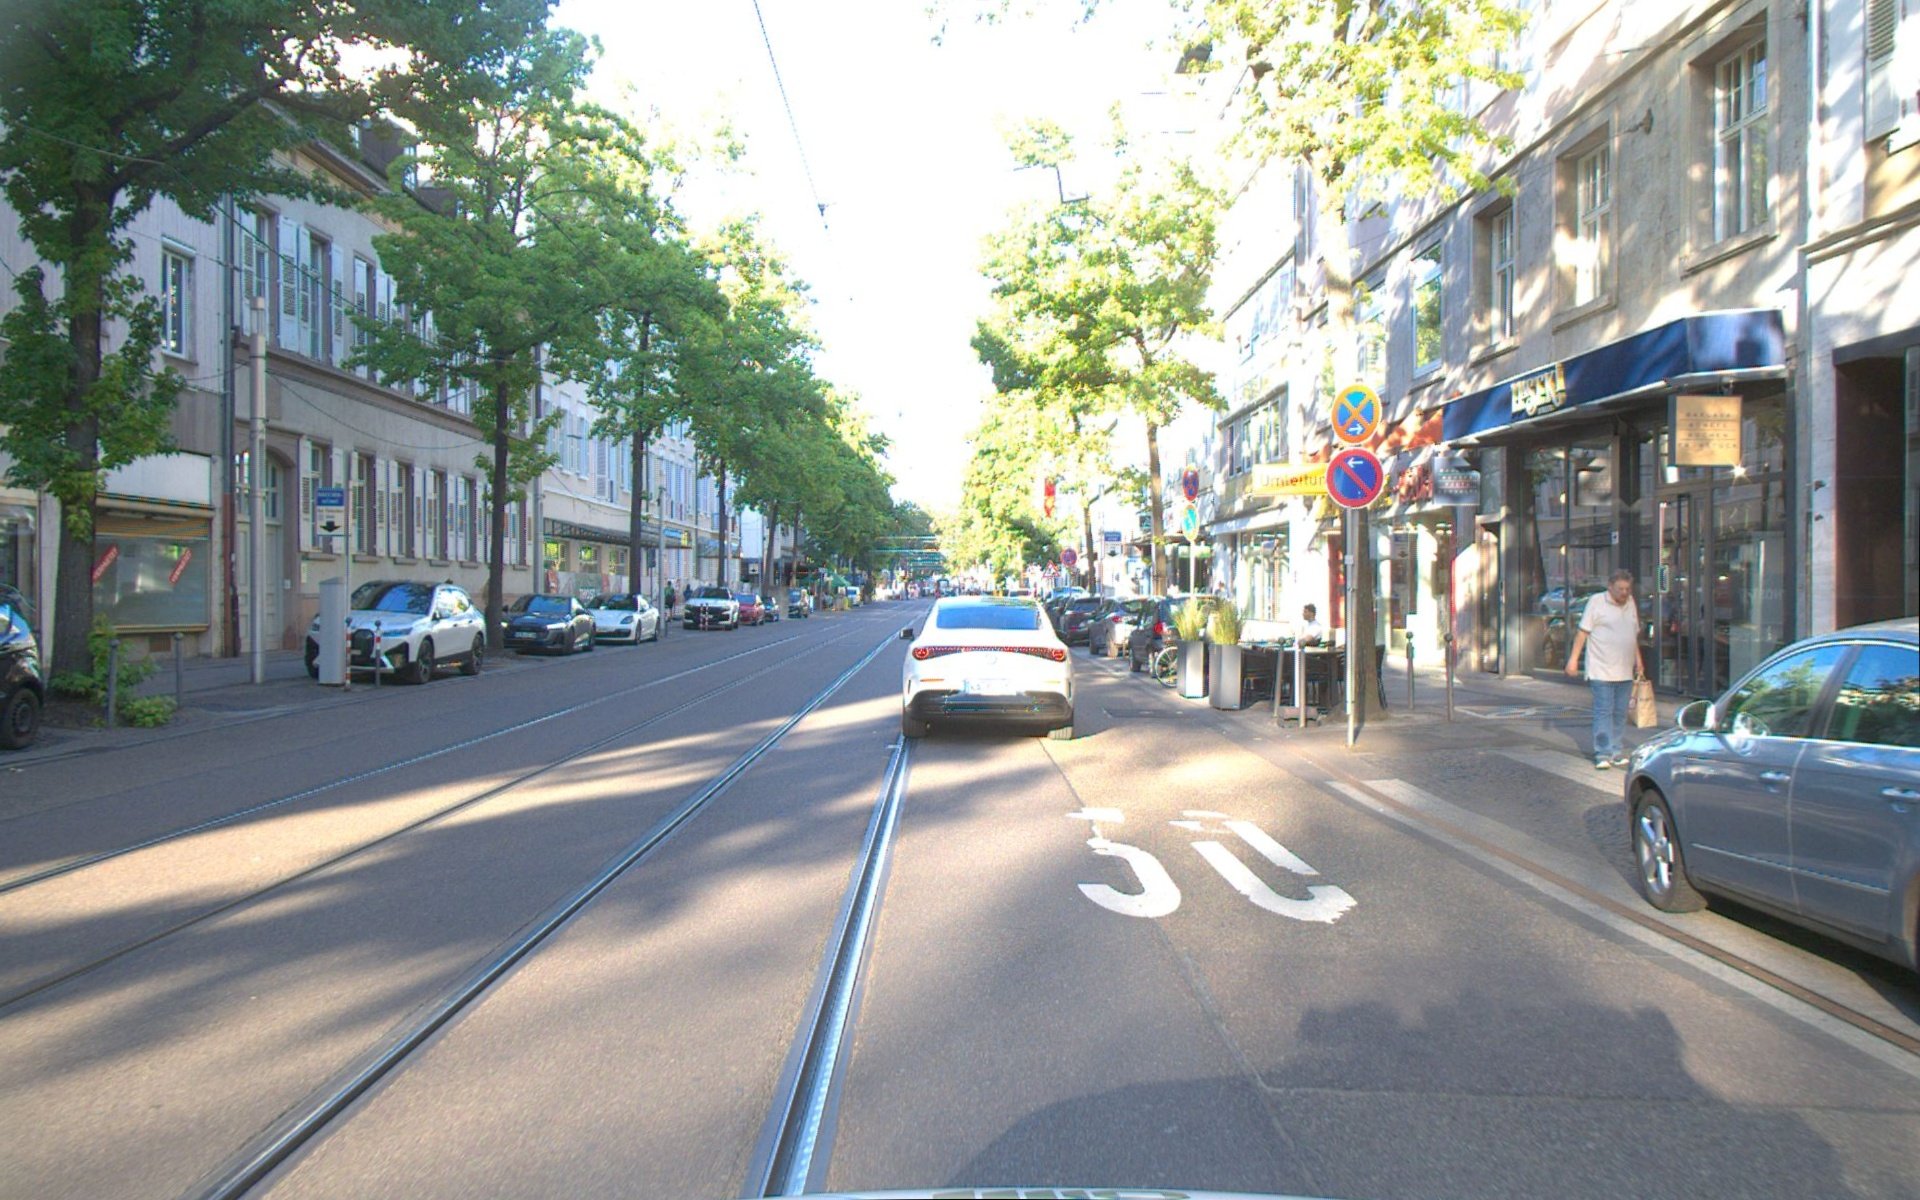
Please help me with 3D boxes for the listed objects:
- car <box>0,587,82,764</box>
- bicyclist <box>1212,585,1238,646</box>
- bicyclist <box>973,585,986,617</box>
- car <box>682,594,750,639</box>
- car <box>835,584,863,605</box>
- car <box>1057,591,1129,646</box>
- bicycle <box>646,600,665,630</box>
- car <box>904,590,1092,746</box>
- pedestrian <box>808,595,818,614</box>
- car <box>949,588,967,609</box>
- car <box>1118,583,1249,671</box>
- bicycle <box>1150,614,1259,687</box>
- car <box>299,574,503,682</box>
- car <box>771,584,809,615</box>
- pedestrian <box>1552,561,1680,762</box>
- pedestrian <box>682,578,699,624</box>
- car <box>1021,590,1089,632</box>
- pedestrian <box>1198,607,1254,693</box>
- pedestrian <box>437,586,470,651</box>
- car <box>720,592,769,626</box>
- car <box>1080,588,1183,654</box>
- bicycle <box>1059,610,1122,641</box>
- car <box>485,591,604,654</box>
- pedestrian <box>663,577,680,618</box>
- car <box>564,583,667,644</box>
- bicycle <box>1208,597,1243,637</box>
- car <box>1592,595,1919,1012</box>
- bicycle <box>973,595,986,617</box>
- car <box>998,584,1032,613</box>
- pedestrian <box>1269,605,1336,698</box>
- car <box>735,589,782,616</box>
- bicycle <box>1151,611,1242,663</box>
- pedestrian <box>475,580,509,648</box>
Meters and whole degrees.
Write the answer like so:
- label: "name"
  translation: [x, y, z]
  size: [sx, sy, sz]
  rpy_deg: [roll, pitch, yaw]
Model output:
- label: "car"
  translation: [-10.169, 0.687, 15.211]
  size: [1.922, 1.668, 4.000]
  rpy_deg: [3, 0, 1]
- label: "bicyclist"
  translation: [7.511, 0.430, 46.885]
  size: [0.626, 1.713, 0.599]
  rpy_deg: [0, 0, -2]
- label: "bicyclist"
  translation: [1.051, 0.062, 88.952]
  size: [0.710, 1.732, 0.811]
  rpy_deg: [0, 0, 0]
- label: "car"
  translation: [-9.874, 0.654, 67.307]
  size: [1.921, 1.721, 5.013]
  rpy_deg: [1, 0, 1]
- label: "car"
  translation: [-10.852, -0.539, 161.644]
  size: [1.951, 2.049, 4.003]
  rpy_deg: [0, 0, 8]
- label: "car"
  translation: [3.852, 0.507, 48.426]
  size: [1.832, 1.478, 4.107]
  rpy_deg: [-2, 0, 1]
- label: "bicycle"
  translation: [-11.278, 0.558, 61.336]
  size: [0.582, 1.068, 2.005]
  rpy_deg: [0, 0, -7]
- label: "car"
  translation: [0.357, 0.678, 18.323]
  size: [1.830, 1.494, 4.042]
  rpy_deg: [-1, 0, -1]
- label: "pedestrian"
  translation: [-11.401, 0.374, 128.677]
  size: [0.557, 1.489, 0.650]
  rpy_deg: [0, 0, 19]
- label: "car"
  translation: [-0.251, -0.139, 205.736]
  size: [1.955, 2.586, 3.995]
  rpy_deg: [1, -1, -5]
- label: "car"
  translation: [4.184, 0.490, 31.471]
  size: [1.764, 1.483, 3.652]
  rpy_deg: [-3, 0, -3]
- label: "bicycle"
  translation: [4.047, 0.840, 27.365]
  size: [1.690, 1.158, 0.547]
  rpy_deg: [-2, -1, 20]
- label: "car"
  translation: [-9.889, 0.469, 29.694]
  size: [1.922, 1.668, 4.812]
  rpy_deg: [3, 0, 0]
- label: "car"
  translation: [-10.177, -0.023, 98.976]
  size: [1.519, 1.827, 3.170]
  rpy_deg: [0, 0, 8]
- label: "pedestrian"
  translation: [5.608, 0.511, 14.169]
  size: [0.786, 1.672, 0.756]
  rpy_deg: [-1, 0, 0]
- label: "pedestrian"
  translation: [-12.147, 0.040, 74.478]
  size: [0.693, 2.039, 0.675]
  rpy_deg: [0, 0, -4]
- label: "car"
  translation: [3.433, 0.393, 60.467]
  size: [1.802, 1.461, 3.994]
  rpy_deg: [0, 0, -7]
- label: "pedestrian"
  translation: [4.097, 0.764, 25.534]
  size: [0.800, 1.287, 0.586]
  rpy_deg: [0, 0, 5]
- label: "pedestrian"
  translation: [-13.336, 0.482, 43.577]
  size: [0.661, 1.709, 0.647]
  rpy_deg: [0, 0, -1]
- label: "car"
  translation: [-10.041, 0.417, 77.319]
  size: [1.654, 1.525, 4.234]
  rpy_deg: [1, 0, 1]
- label: "car"
  translation: [4.159, 0.495, 40.668]
  size: [1.779, 1.512, 3.995]
  rpy_deg: [1, 0, -5]
- label: "bicycle"
  translation: [4.129, 0.803, 52.446]
  size: [1.994, 0.981, 0.282]
  rpy_deg: [0, 0, 5]
- label: "car"
  translation: [-10.210, 0.540, 41.015]
  size: [1.923, 1.437, 4.843]
  rpy_deg: [1, 0, -3]
- label: "pedestrian"
  translation: [-12.982, -0.114, 74.540]
  size: [0.693, 1.838, 0.675]
  rpy_deg: [0, 0, -6]
- label: "car"
  translation: [-10.113, 0.374, 48.970]
  size: [1.906, 1.668, 4.909]
  rpy_deg: [1, 0, 1]
- label: "bicycle"
  translation: [7.510, 0.462, 46.818]
  size: [0.634, 1.093, 1.860]
  rpy_deg: [0, 0, -2]
- label: "car"
  translation: [4.325, 0.729, 6.766]
  size: [1.739, 1.465, 4.422]
  rpy_deg: [-2, 0, 0]
- label: "bicycle"
  translation: [1.053, 0.326, 88.961]
  size: [0.725, 1.209, 2.160]
  rpy_deg: [0, 0, 0]
- label: "car"
  translation: [3.394, -0.097, 102.967]
  size: [1.953, 1.758, 4.240]
  rpy_deg: [0, 0, 0]
- label: "pedestrian"
  translation: [5.287, 0.784, 25.548]
  size: [0.702, 1.411, 0.737]
  rpy_deg: [0, 0, -38]
- label: "car"
  translation: [-10.453, 0.122, 85.928]
  size: [1.953, 1.315, 3.999]
  rpy_deg: [1, 0, -1]
- label: "bicycle"
  translation: [5.143, 0.793, 36.020]
  size: [1.821, 1.093, 0.710]
  rpy_deg: [0, 0, -10]
- label: "pedestrian"
  translation: [-12.292, 0.363, 43.463]
  size: [0.672, 1.751, 0.656]
  rpy_deg: [1, 0, 0]
